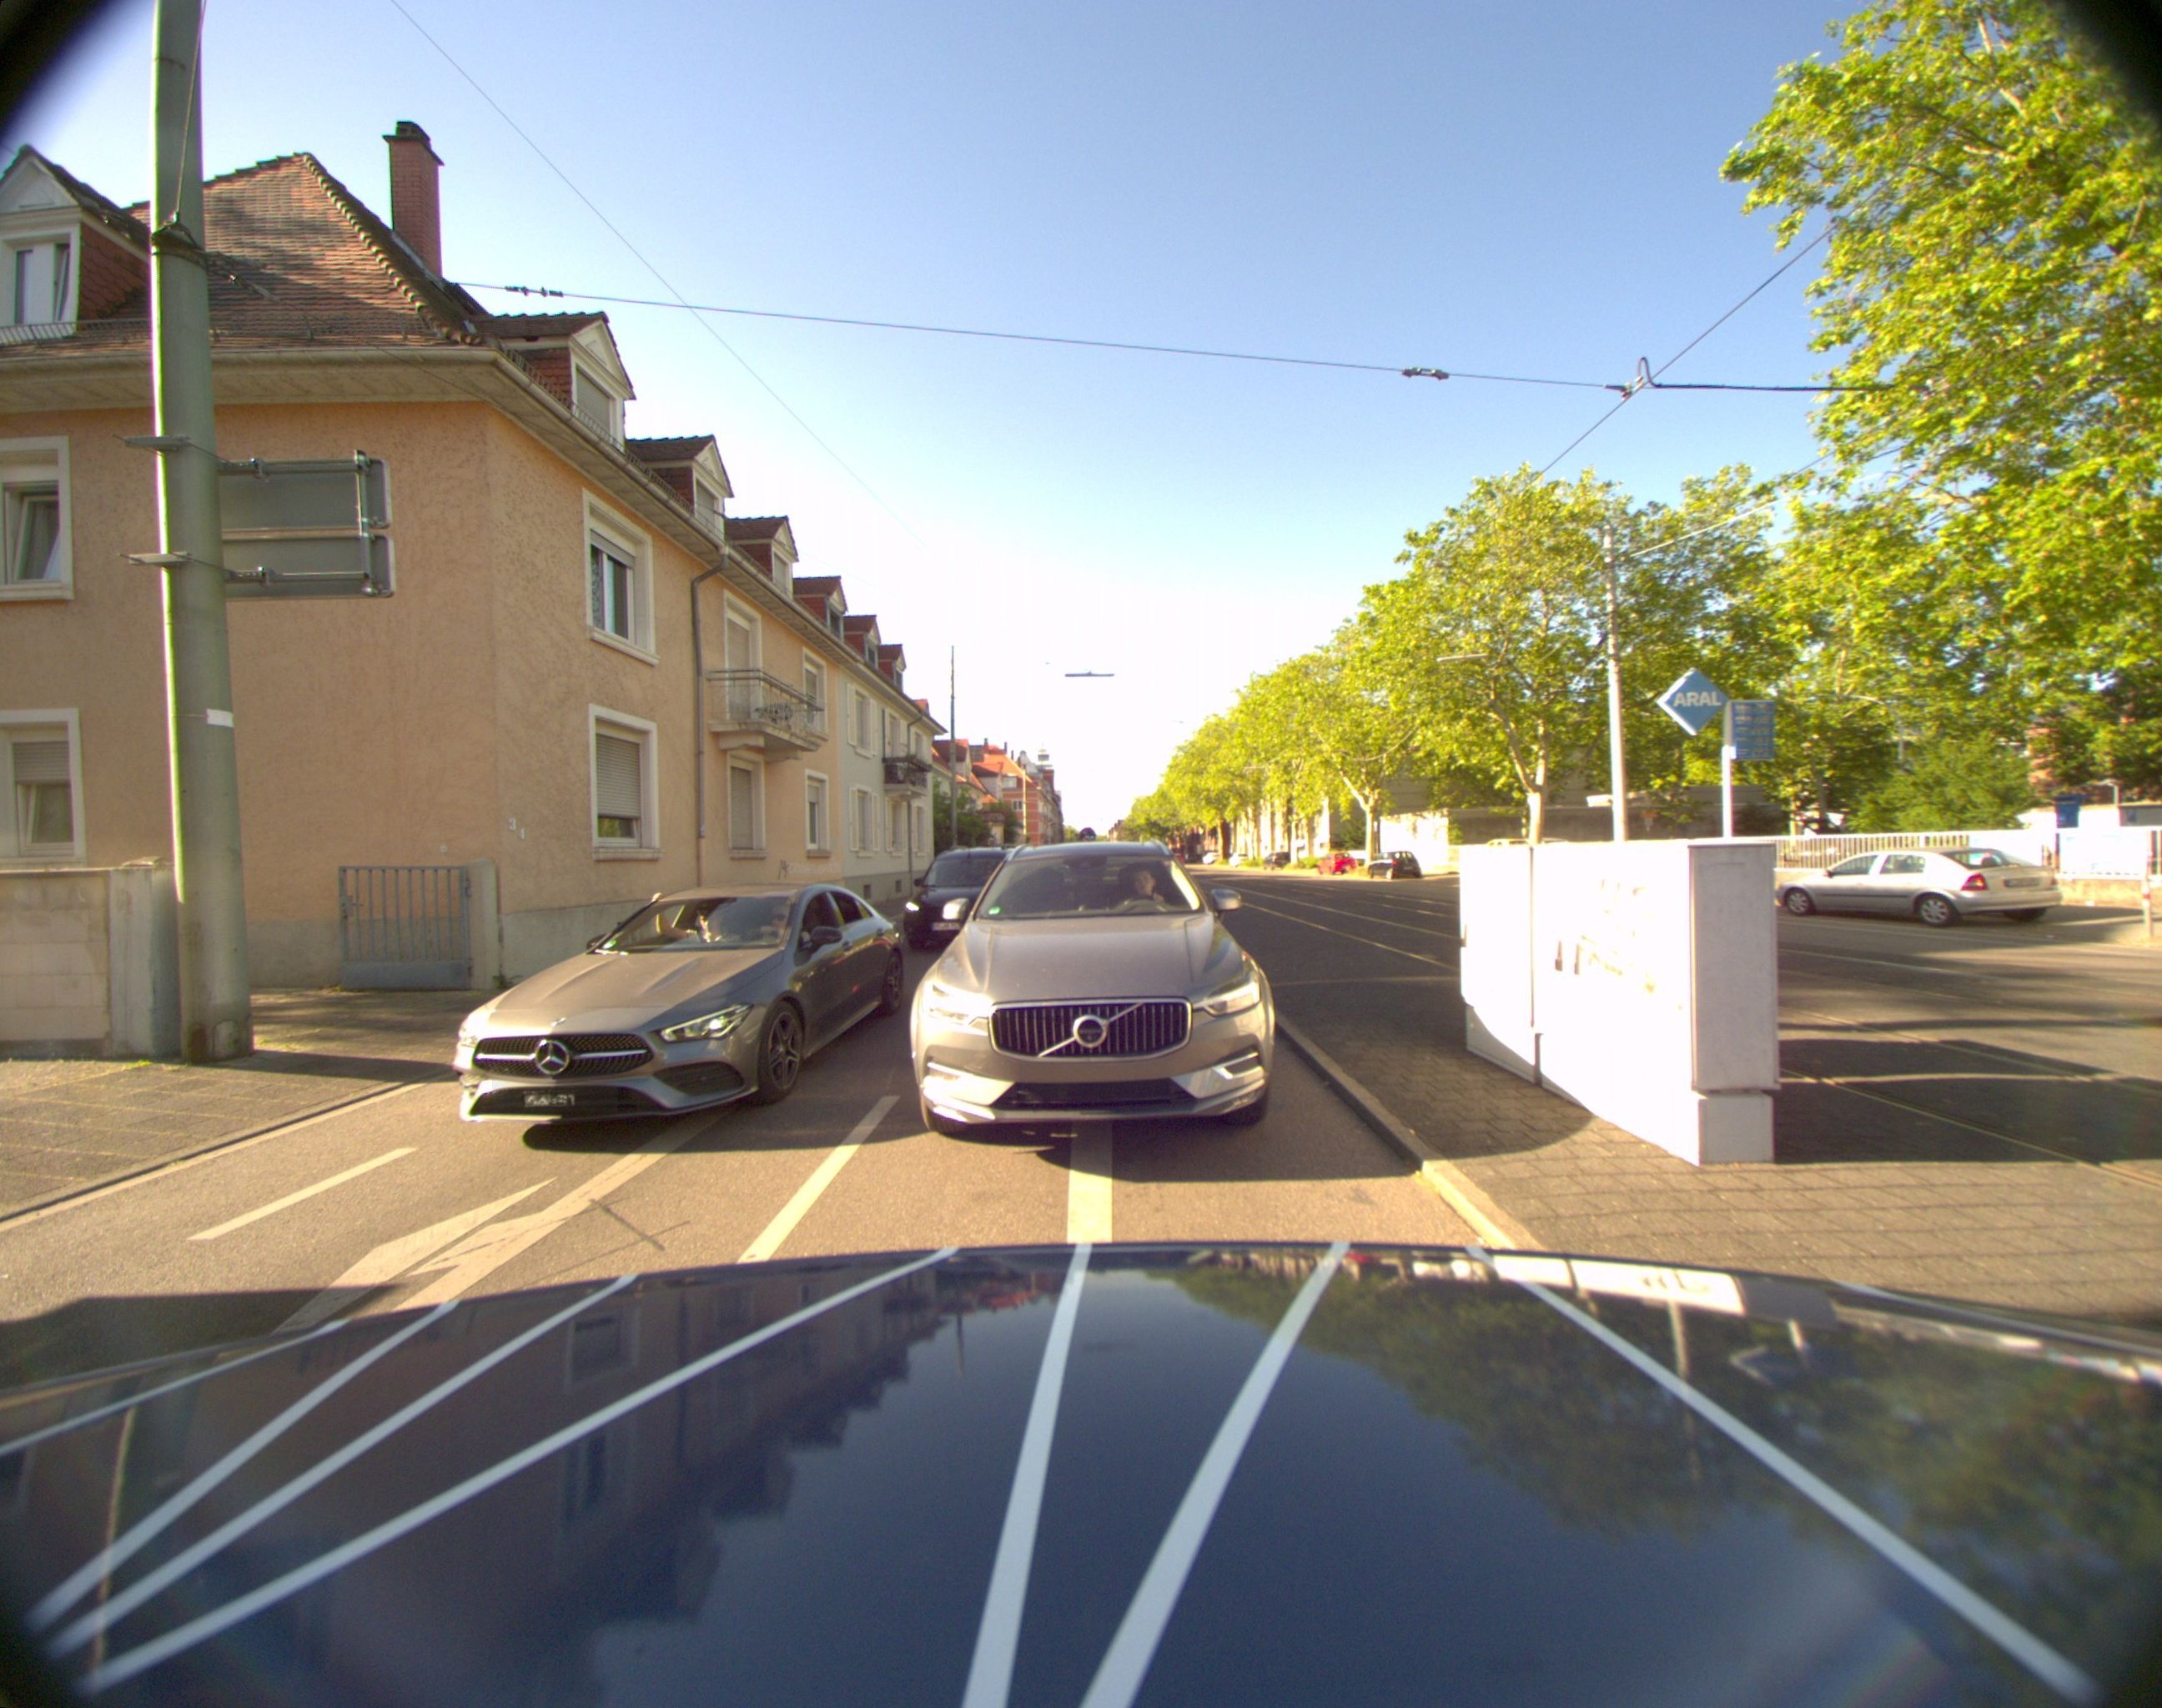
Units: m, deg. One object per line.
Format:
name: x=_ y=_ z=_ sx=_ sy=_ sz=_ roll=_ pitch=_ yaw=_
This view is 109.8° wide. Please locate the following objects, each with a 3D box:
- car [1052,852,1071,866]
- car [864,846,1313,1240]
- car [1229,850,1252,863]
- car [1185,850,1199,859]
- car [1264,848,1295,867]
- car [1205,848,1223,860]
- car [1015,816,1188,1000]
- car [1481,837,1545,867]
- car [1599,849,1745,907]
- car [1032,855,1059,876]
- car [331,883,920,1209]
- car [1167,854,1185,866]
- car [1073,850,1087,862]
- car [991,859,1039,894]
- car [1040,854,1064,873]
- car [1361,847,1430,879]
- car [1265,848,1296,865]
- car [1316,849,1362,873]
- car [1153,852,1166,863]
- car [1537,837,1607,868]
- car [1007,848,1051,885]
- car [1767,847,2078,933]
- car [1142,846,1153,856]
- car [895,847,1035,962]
car: x=-2.174 y=0.583 z=85.434 sx=1.841 sy=1.449 sz=3.999 roll=-2 pitch=1 yaw=1
car: x=0.042 y=0.812 z=5.725 sx=1.912 sy=1.666 sz=4.763 roll=-2 pitch=1 yaw=0
car: x=17.524 y=0.249 z=83.519 sx=1.700 sy=1.401 sz=3.999 roll=-1 pitch=1 yaw=1
car: x=18.342 y=0.023 z=125.557 sx=1.700 sy=1.401 sz=3.999 roll=-1 pitch=1 yaw=1
car: x=17.175 y=0.319 z=65.991 sx=1.700 sy=1.566 sz=3.999 roll=-1 pitch=1 yaw=1
car: x=17.672 y=0.007 z=100.780 sx=1.700 sy=1.548 sz=3.999 roll=-1 pitch=1 yaw=1
car: x=0.244 y=0.595 z=11.120 sx=1.912 sy=2.048 sz=4.763 roll=-2 pitch=1 yaw=0
car: x=21.725 y=-0.114 z=38.316 sx=1.545 sy=1.412 sz=3.151 roll=-2 pitch=1 yaw=4
car: x=16.354 y=0.607 z=21.219 sx=1.546 sy=1.412 sz=3.254 roll=-2 pitch=1 yaw=1
car: x=-2.819 y=0.885 z=60.587 sx=1.841 sy=1.449 sz=3.999 roll=-2 pitch=1 yaw=1
car: x=-2.833 y=1.088 z=6.173 sx=1.911 sy=1.411 sz=4.492 roll=-2 pitch=1 yaw=2
car: x=12.892 y=0.763 z=103.292 sx=1.912 sy=1.514 sz=4.763 roll=0 pitch=1 yaw=0
car: x=-0.150 y=0.271 z=106.486 sx=1.841 sy=1.449 sz=3.999 roll=-2 pitch=1 yaw=1
car: x=-3.054 y=1.020 z=36.062 sx=1.841 sy=1.449 sz=3.999 roll=-2 pitch=1 yaw=1
car: x=-2.523 y=0.802 z=66.996 sx=1.841 sy=1.449 sz=3.999 roll=-2 pitch=1 yaw=1
car: x=16.920 y=0.441 z=41.111 sx=1.753 sy=1.514 sz=4.434 roll=-5 pitch=1 yaw=-1
car: x=17.293 y=0.226 z=65.911 sx=1.700 sy=1.401 sz=3.999 roll=-1 pitch=1 yaw=1
car: x=17.019 y=0.436 z=50.283 sx=1.700 sy=1.460 sz=3.999 roll=-1 pitch=1 yaw=1
car: x=13.103 y=0.570 z=126.648 sx=1.700 sy=1.412 sz=3.999 roll=9 pitch=1 yaw=1
car: x=24.287 y=-0.100 z=37.715 sx=1.545 sy=1.412 sz=3.151 roll=-2 pitch=1 yaw=4
car: x=-2.920 y=0.625 z=44.437 sx=1.937 sy=1.888 sz=7.210 roll=-2 pitch=1 yaw=1
car: x=16.210 y=0.597 z=15.005 sx=1.731 sy=1.412 sz=3.999 roll=-2 pitch=1 yaw=1
car: x=13.476 y=-0.611 z=154.204 sx=1.850 sy=1.835 sz=4.394 roll=-1 pitch=1 yaw=-1
car: x=-2.046 y=0.812 z=14.849 sx=1.866 sy=1.794 sz=4.778 roll=-2 pitch=1 yaw=1
